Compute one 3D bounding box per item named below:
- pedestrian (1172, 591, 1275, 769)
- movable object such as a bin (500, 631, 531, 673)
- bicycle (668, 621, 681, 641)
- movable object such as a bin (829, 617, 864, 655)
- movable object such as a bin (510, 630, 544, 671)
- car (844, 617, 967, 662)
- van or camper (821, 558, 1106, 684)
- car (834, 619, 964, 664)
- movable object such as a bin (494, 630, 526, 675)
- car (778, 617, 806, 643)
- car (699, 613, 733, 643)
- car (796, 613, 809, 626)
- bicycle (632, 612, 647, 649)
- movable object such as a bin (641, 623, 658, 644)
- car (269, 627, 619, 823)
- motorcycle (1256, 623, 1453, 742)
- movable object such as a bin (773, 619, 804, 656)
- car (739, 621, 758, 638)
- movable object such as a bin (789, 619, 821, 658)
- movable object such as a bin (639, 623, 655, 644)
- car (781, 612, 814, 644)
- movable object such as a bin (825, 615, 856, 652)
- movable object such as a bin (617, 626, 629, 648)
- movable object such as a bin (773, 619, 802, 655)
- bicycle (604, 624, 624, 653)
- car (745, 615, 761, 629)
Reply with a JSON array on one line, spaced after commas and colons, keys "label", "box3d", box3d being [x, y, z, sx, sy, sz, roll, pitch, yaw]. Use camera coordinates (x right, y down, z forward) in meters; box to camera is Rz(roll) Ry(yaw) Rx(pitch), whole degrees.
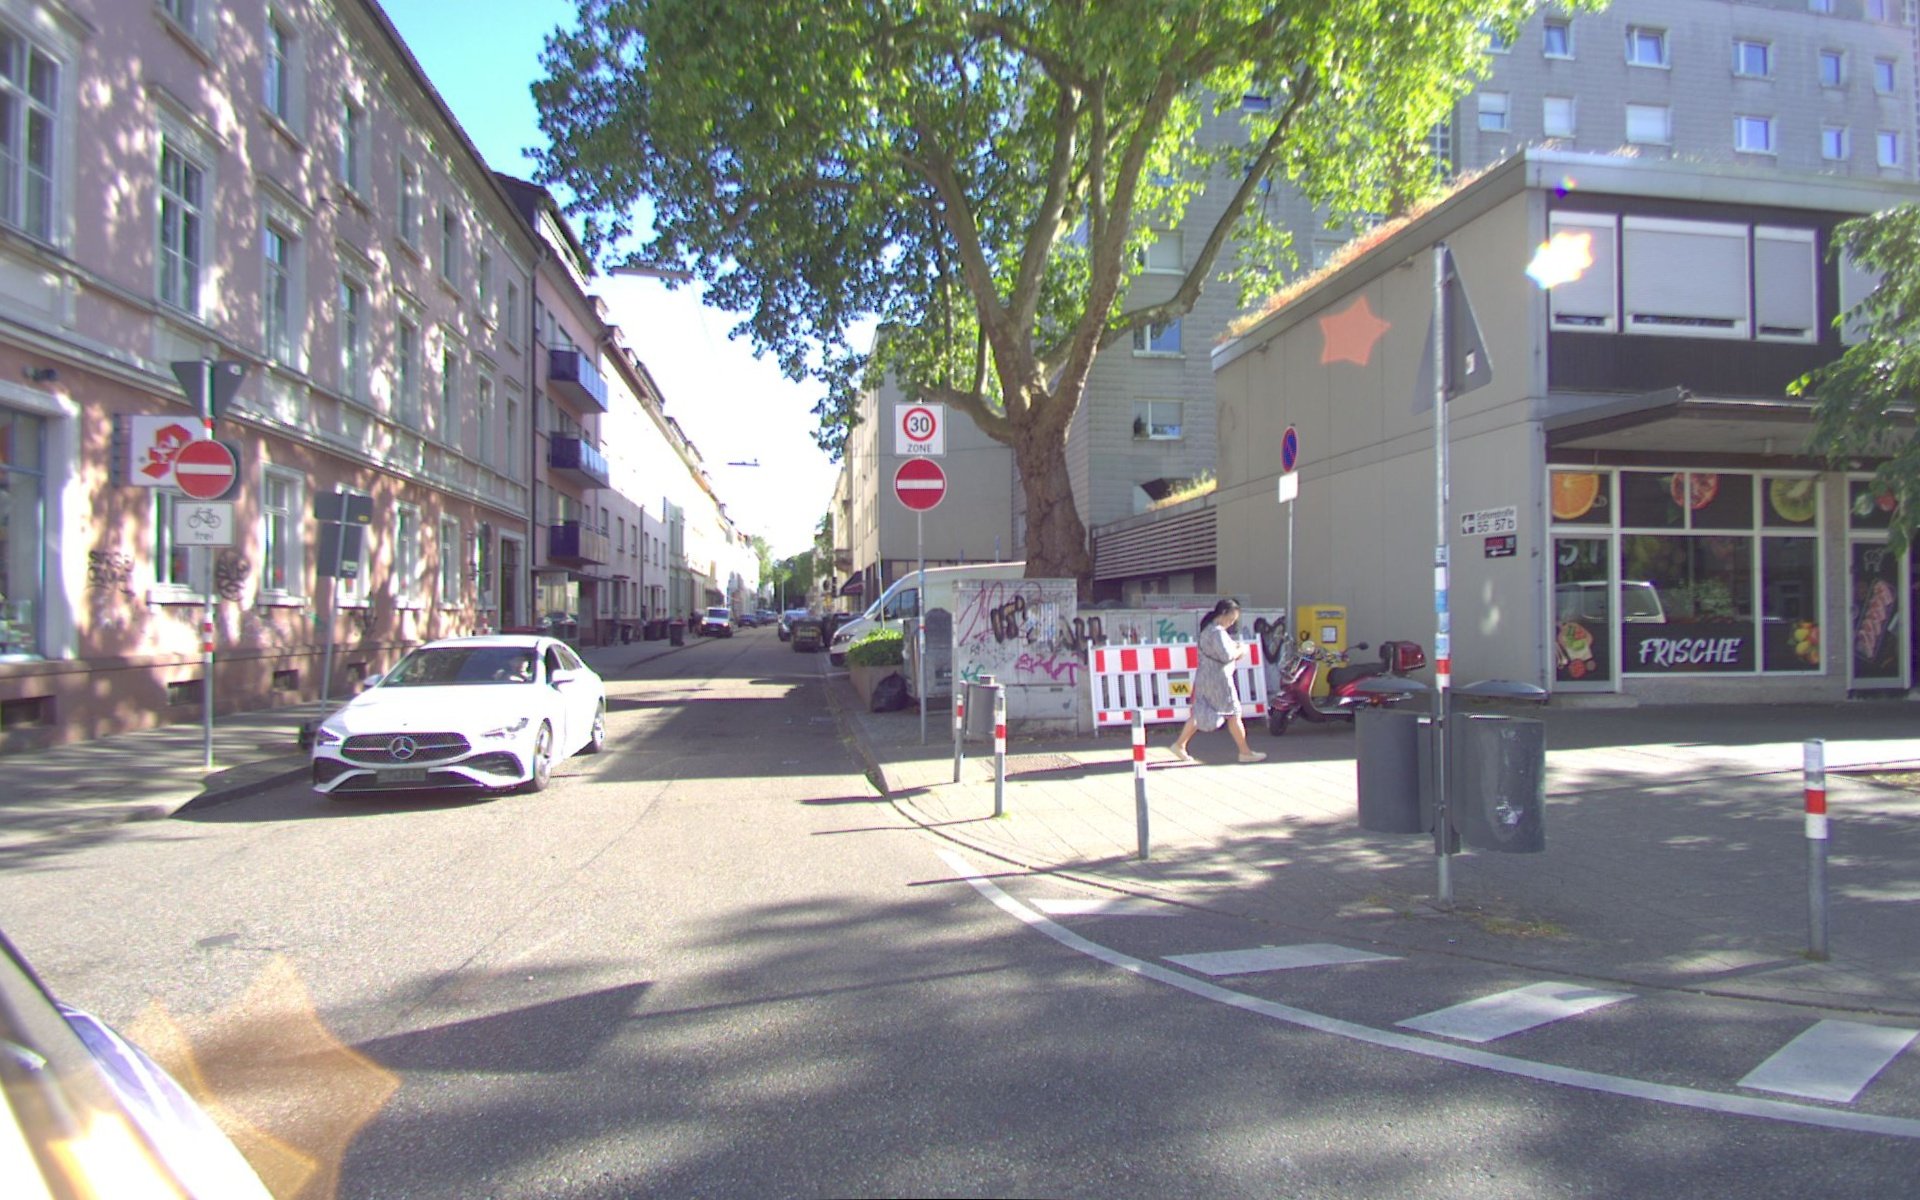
[{"label": "pedestrian", "box3d": [2.483, 0.728, 9.529, 0.839, 1.585, 0.842, -2, -1, 16]}, {"label": "movable object such as a bin", "box3d": [-11.607, 1.349, 26.458, 0.561, 1.066, 0.613, 3, -2, -10]}, {"label": "bicycle", "box3d": [-16.771, 1.807, 59.530, 0.482, 1.104, 1.936, 0, -1, -8]}, {"label": "movable object such as a bin", "box3d": [-4.617, 1.454, 41.019, 1.307, 1.512, 1.198, 0, -1, -11]}, {"label": "movable object such as a bin", "box3d": [-12.135, 1.412, 28.395, 0.706, 1.092, 0.620, 3, -2, -10]}, {"label": "car", "box3d": [-2.067, 1.463, 37.968, 4.344, 1.545, 1.703, -1, -1, -14]}, {"label": "van or camper", "box3d": [0.013, 0.513, 25.520, 6.819, 2.594, 2.003, -4, -1, -8]}, {"label": "car", "box3d": [-2.163, 1.461, 35.703, 4.344, 1.474, 1.604, 0, -2, -14]}, {"label": "movable object such as a bin", "box3d": [-11.487, 1.338, 25.864, 0.561, 1.092, 0.656, 3, -2, -10]}, {"label": "car", "box3d": [-11.385, 2.000, 68.851, 1.738, 1.721, 4.335, 0, -1, -8]}, {"label": "car", "box3d": [-15.871, 1.812, 65.962, 1.738, 1.868, 4.335, -1, -1, -8]}, {"label": "car", "box3d": [-21.261, 2.681, 136.827, 1.738, 1.721, 4.336, 0, -1, -9]}, {"label": "bicycle", "box3d": [-15.701, 1.481, 49.596, 0.396, 1.749, 2.110, 0, -1, -8]}, {"label": "movable object such as a bin", "box3d": [-16.021, 1.727, 52.226, 0.705, 1.010, 0.547, 3, -2, -10]}, {"label": "car", "box3d": [-4.891, 1.054, 10.396, 1.834, 1.468, 4.570, -1, -1, -8]}, {"label": "motorcycle", "box3d": [4.351, 0.886, 11.220, 1.891, 1.189, 0.671, -2, -1, -8]}, {"label": "movable object such as a bin", "box3d": [-7.253, 1.572, 42.689, 1.227, 1.512, 1.929, 0, -1, -11]}, {"label": "car", "box3d": [-21.675, 2.996, 103.916, 1.738, 1.721, 4.336, 0, -1, -9]}, {"label": "movable object such as a bin", "box3d": [-6.350, 1.549, 41.310, 1.222, 1.512, 1.881, 0, -1, -11]}, {"label": "movable object such as a bin", "box3d": [-15.959, 1.697, 51.604, 0.705, 1.010, 0.547, 3, -2, -10]}, {"label": "car", "box3d": [-9.191, 1.577, 57.447, 1.738, 1.721, 4.335, -1, -1, -8]}, {"label": "movable object such as a bin", "box3d": [-5.015, 1.399, 42.385, 1.202, 1.512, 1.521, 0, -1, -11]}, {"label": "movable object such as a bin", "box3d": [-14.869, 1.650, 44.625, 0.409, 0.947, 0.302, 2, -2, -10]}, {"label": "movable object such as a bin", "box3d": [-7.578, 1.607, 44.432, 1.202, 1.512, 1.563, 0, -1, -11]}, {"label": "bicycle", "box3d": [-14.410, 1.578, 42.153, 0.396, 1.159, 2.028, 0, -1, -8]}, {"label": "car", "box3d": [-26.337, 2.762, 128.814, 1.738, 1.721, 4.336, 0, -1, -9]}]
